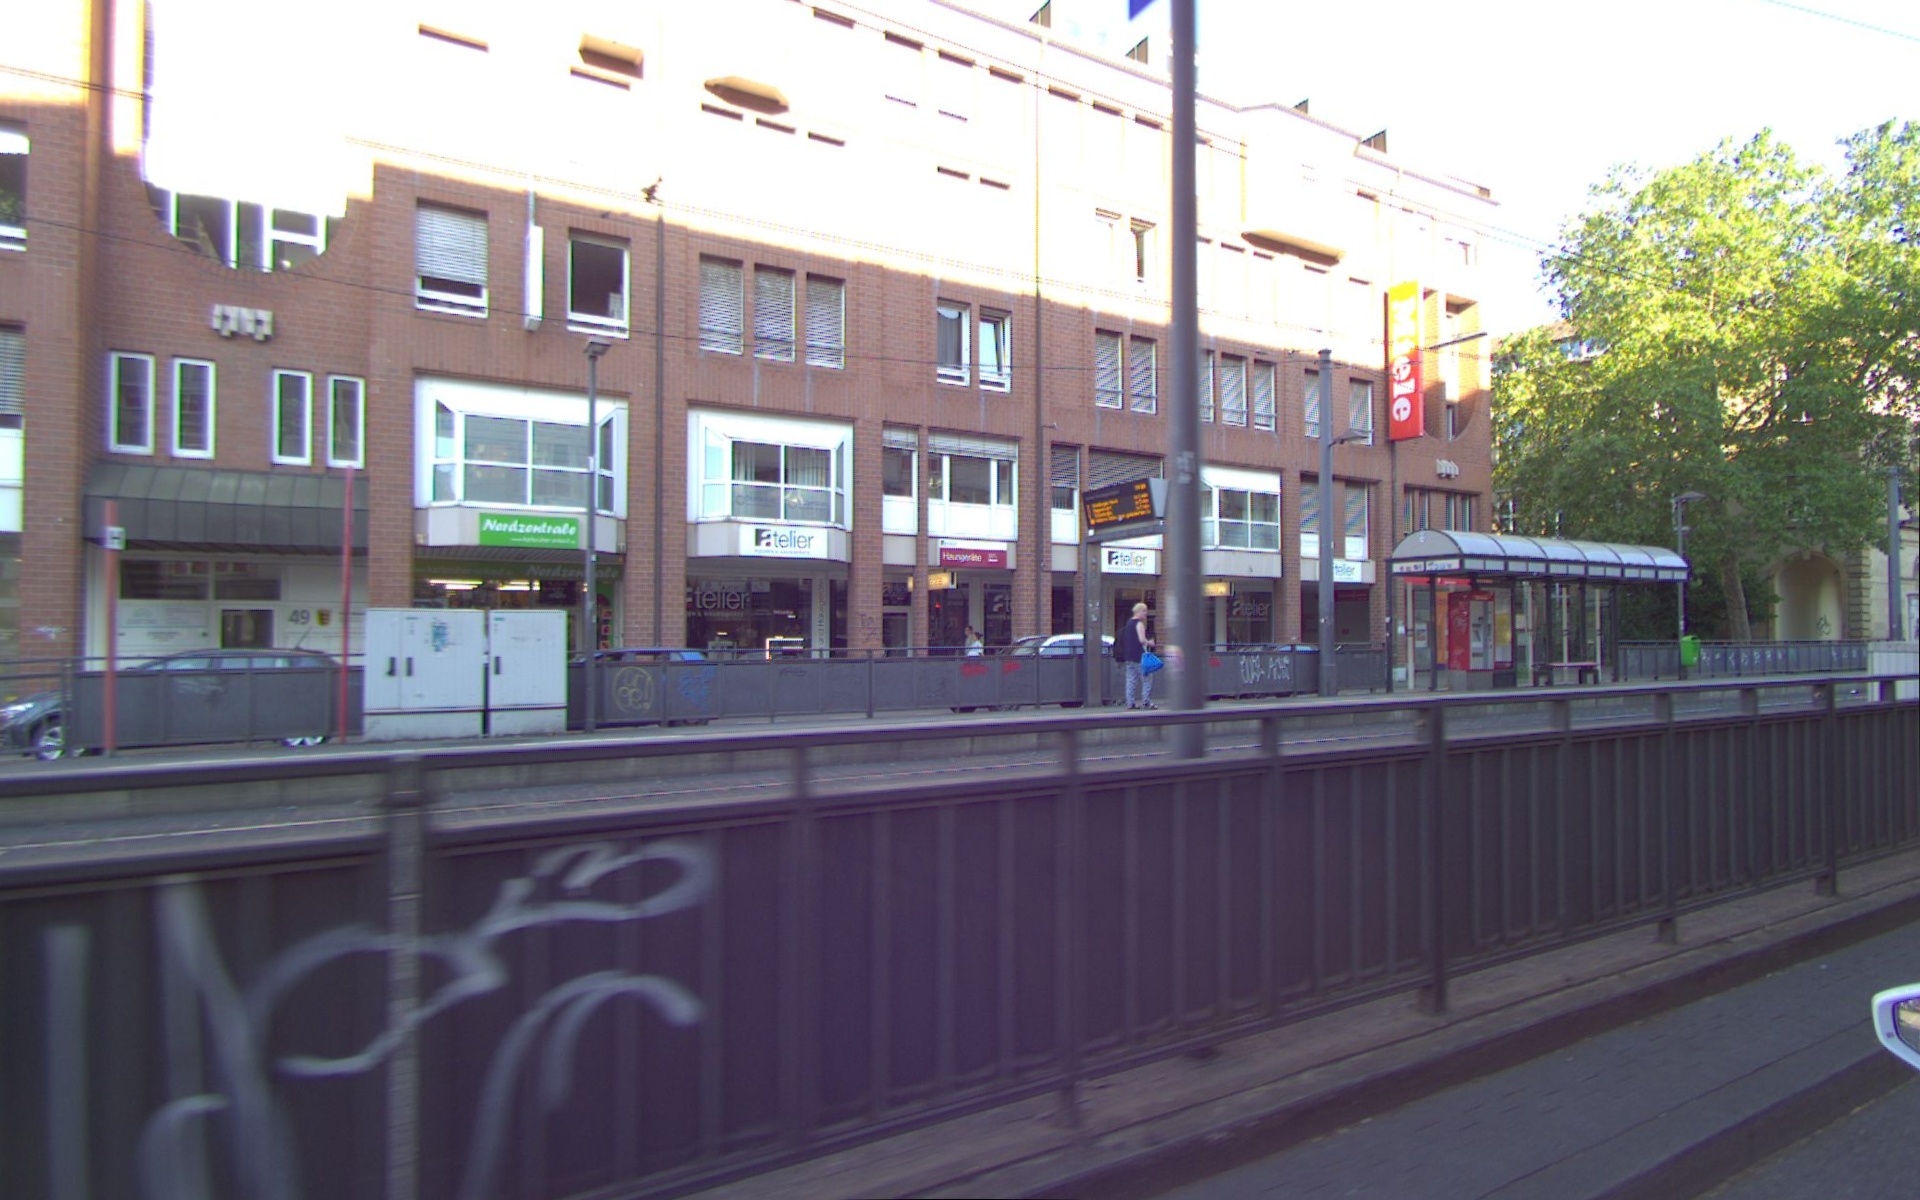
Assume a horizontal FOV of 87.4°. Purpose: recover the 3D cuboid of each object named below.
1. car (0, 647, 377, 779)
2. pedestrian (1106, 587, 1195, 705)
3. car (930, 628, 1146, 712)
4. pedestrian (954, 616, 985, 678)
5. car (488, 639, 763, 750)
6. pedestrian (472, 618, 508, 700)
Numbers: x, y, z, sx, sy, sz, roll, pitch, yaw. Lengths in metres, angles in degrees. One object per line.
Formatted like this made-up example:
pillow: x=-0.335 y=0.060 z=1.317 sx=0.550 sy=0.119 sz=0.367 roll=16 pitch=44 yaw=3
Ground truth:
car: x=-10.634 y=1.485 z=14.266 sx=4.073 sy=1.549 sz=1.892 roll=0 pitch=-3 yaw=-31
pedestrian: x=2.853 y=0.679 z=15.051 sx=0.956 sy=1.684 sz=0.907 roll=1 pitch=-2 yaw=-31
car: x=1.681 y=1.483 z=21.275 sx=4.239 sy=1.614 sz=1.902 roll=3 pitch=-4 yaw=-29
pedestrian: x=0.259 y=1.287 z=27.656 sx=0.631 sy=1.684 sz=0.607 roll=1 pitch=-2 yaw=-35
car: x=-5.658 y=1.503 z=17.089 sx=4.149 sy=1.621 sz=1.883 roll=0 pitch=-2 yaw=-31
pedestrian: x=-9.940 y=1.232 z=21.237 sx=0.630 sy=1.684 sz=0.608 roll=1 pitch=-2 yaw=-31
